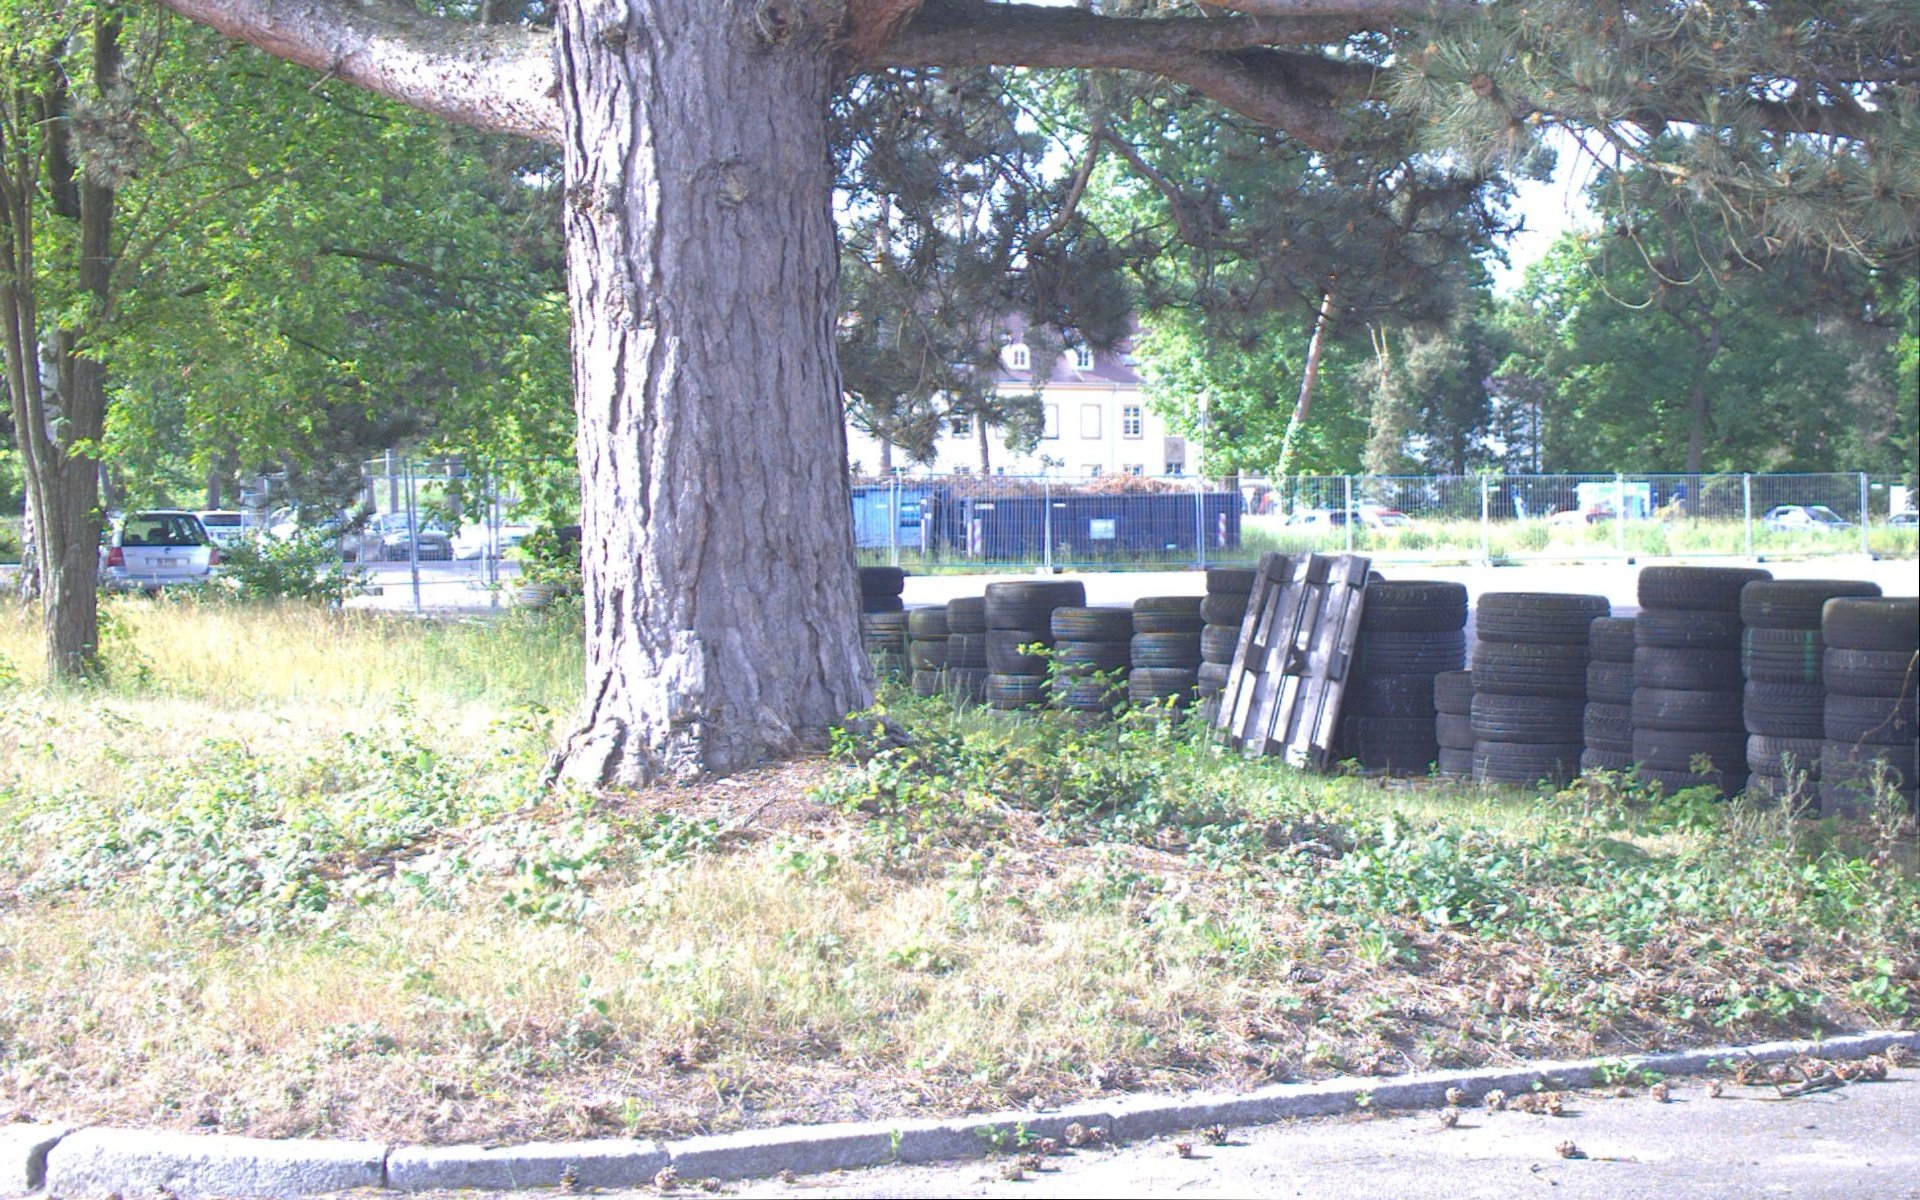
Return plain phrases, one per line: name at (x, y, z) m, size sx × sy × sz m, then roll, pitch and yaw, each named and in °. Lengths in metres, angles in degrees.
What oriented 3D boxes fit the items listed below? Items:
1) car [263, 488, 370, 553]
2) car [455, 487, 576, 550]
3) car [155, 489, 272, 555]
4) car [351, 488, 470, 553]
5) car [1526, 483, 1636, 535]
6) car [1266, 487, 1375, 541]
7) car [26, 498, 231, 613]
car at (-16.378, -2.039, 87.410) m, size 1.820 × 1.612 × 4.001 m, roll -1°, pitch 2°, yaw -23°
car at (-11.695, -2.157, 90.286) m, size 1.993 × 1.612 × 4.001 m, roll -1°, pitch 2°, yaw -25°
car at (-18.704, -1.964, 86.023) m, size 1.993 × 1.612 × 4.001 m, roll -1°, pitch 2°, yaw -25°
car at (-14.214, -2.065, 88.754) m, size 1.993 × 1.612 × 4.001 m, roll -1°, pitch 2°, yaw -25°
car at (21.242, -3.137, 117.735) m, size 1.993 × 1.744 × 4.001 m, roll -1°, pitch 2°, yaw -20°
car at (11.878, -2.856, 113.541) m, size 1.993 × 1.744 × 4.001 m, roll -1°, pitch 2°, yaw -21°
car at (-11.634, -0.652, 47.923) m, size 1.886 × 1.535 × 4.001 m, roll -1°, pitch 2°, yaw -27°
